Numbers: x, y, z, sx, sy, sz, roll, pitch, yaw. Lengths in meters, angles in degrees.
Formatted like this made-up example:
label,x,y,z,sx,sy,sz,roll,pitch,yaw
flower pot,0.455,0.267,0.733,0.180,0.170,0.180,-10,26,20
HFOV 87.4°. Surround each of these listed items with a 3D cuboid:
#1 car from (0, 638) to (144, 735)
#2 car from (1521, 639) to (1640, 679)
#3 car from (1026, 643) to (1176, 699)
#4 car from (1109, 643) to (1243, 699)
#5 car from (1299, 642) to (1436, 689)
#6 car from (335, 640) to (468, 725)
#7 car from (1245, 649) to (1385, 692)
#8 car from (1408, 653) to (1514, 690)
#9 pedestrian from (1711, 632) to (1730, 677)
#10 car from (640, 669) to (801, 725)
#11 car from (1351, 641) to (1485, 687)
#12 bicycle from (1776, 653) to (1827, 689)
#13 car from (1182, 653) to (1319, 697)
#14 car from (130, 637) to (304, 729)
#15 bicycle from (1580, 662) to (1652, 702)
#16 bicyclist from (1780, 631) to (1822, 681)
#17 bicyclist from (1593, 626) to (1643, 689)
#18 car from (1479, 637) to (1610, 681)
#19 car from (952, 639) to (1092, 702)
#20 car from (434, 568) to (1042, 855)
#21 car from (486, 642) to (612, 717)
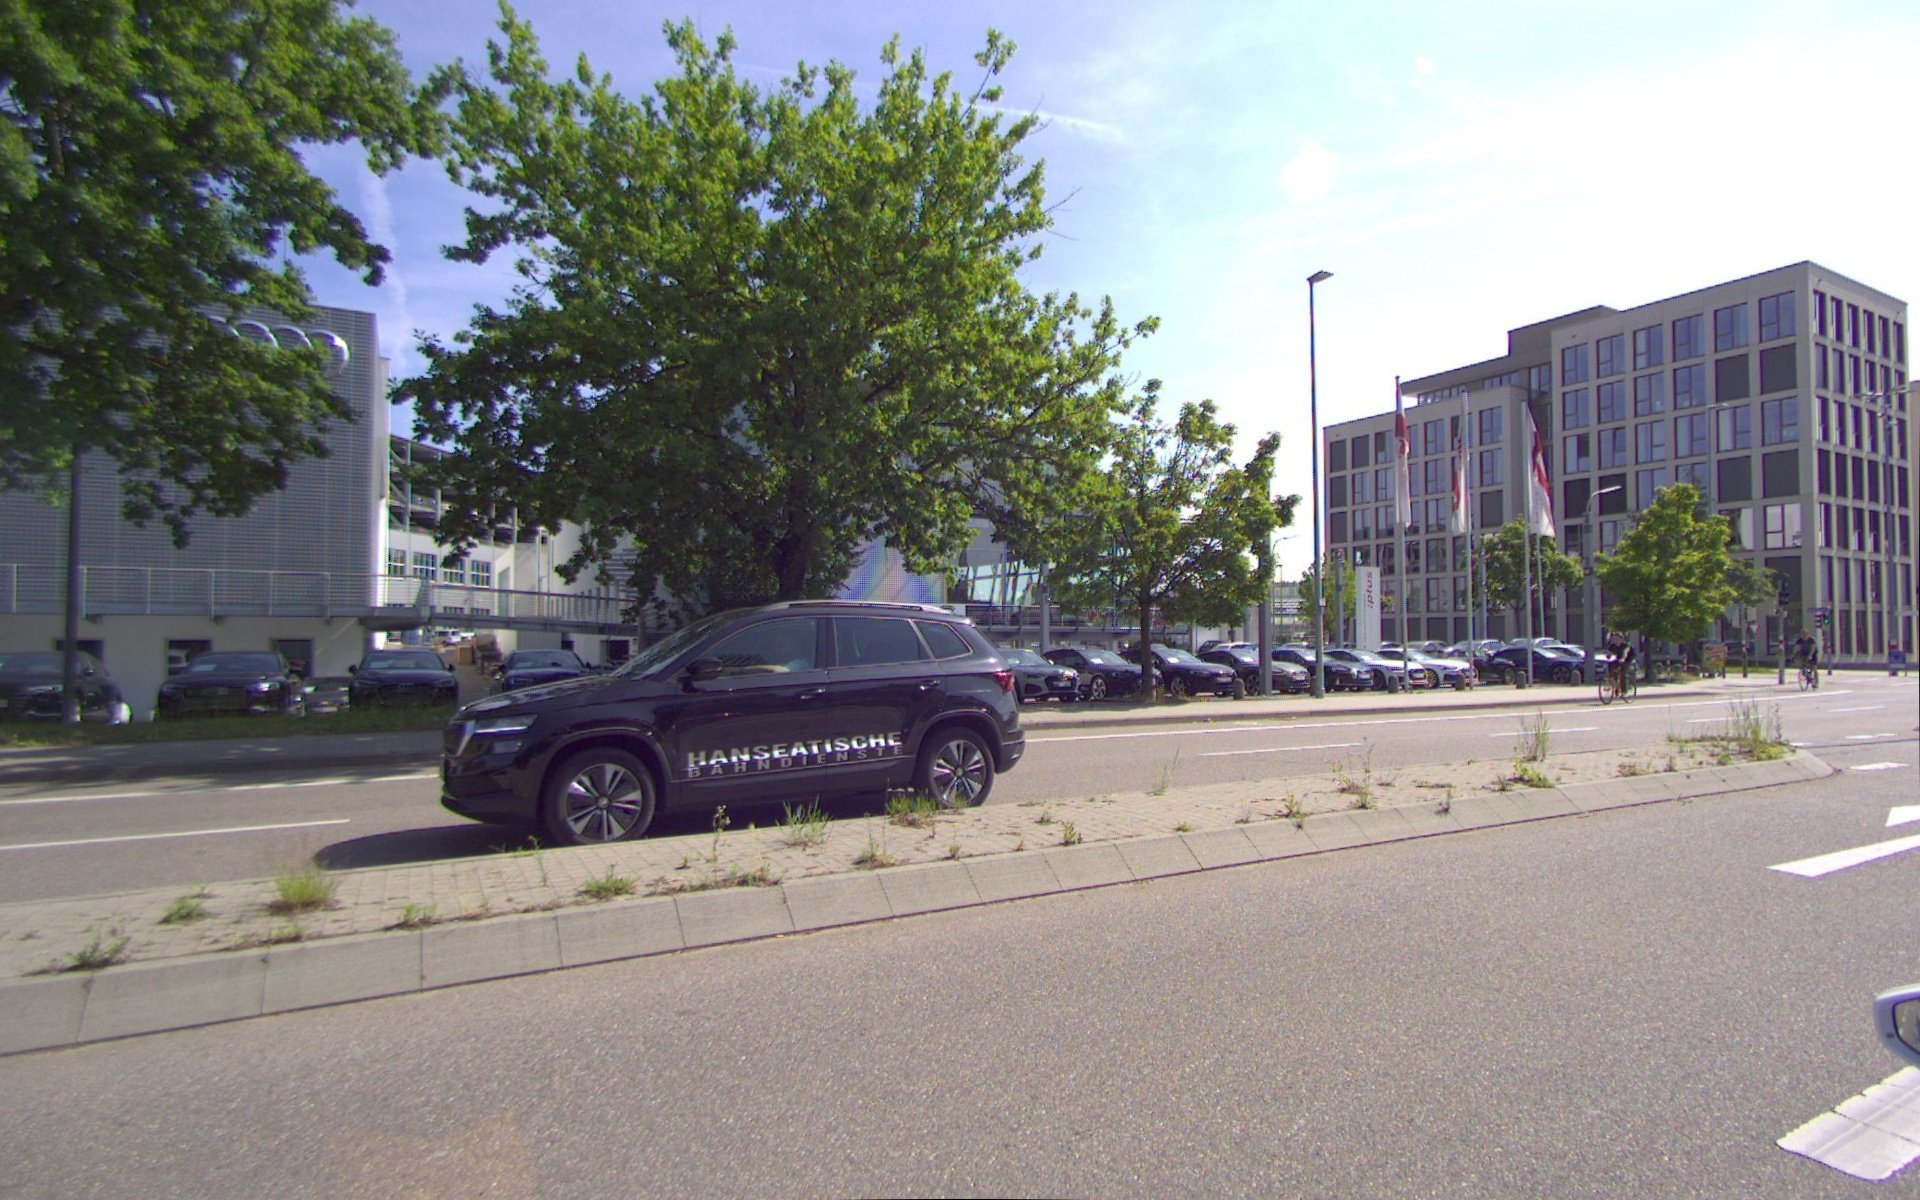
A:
label,x,y,z,sx,sy,sz,roll,pitch,yaw
car,-15.553,1.508,16.959,1.976,1.460,4.233,1,-6,-29
car,24.217,2.328,39.291,1.620,1.375,3.581,0,-5,-29
car,3.711,1.950,27.198,2.010,1.348,4.155,0,-5,-26
car,6.038,2.043,28.469,1.638,1.437,3.864,0,-5,-26
car,13.172,2.153,32.715,1.824,1.350,3.864,0,-5,-26
car,-10.888,1.635,19.608,2.027,1.460,4.287,1,-6,-30
car,10.955,2.233,31.251,1.886,1.181,3.864,0,-5,-26
car,18.343,2.620,36.767,3.388,1.189,1.849,1,-5,-29
pedestrian,34.862,2.470,46.055,0.571,2.040,0.554,1,-1,-38
car,-6.095,2.466,25.428,3.929,1.272,1.588,-5,-5,29
car,15.418,2.191,33.995,1.726,1.382,3.864,0,-5,-26
bicycle,25.888,2.163,30.912,1.854,1.065,0.582,1,-4,-31
car,8.562,2.254,29.926,1.771,1.167,3.864,0,-5,-26
car,-13.380,1.540,18.368,1.976,1.460,4.124,1,-6,-29
bicycle,16.491,2.052,25.249,1.949,0.953,0.677,1,-3,-30
bicyclist,25.866,1.720,30.895,1.016,1.521,0.627,1,-3,-30
bicyclist,16.571,1.451,25.306,1.024,1.546,0.616,1,-3,-29
car,22.049,2.253,38.053,1.844,1.483,3.861,0,-5,-28
car,1.485,1.844,25.594,1.886,1.437,3.864,0,-5,-26
car,-1.579,0.746,7.611,4.162,1.639,1.730,1,-5,-32
car,-8.600,1.676,20.831,1.976,1.376,3.972,1,-6,-29
